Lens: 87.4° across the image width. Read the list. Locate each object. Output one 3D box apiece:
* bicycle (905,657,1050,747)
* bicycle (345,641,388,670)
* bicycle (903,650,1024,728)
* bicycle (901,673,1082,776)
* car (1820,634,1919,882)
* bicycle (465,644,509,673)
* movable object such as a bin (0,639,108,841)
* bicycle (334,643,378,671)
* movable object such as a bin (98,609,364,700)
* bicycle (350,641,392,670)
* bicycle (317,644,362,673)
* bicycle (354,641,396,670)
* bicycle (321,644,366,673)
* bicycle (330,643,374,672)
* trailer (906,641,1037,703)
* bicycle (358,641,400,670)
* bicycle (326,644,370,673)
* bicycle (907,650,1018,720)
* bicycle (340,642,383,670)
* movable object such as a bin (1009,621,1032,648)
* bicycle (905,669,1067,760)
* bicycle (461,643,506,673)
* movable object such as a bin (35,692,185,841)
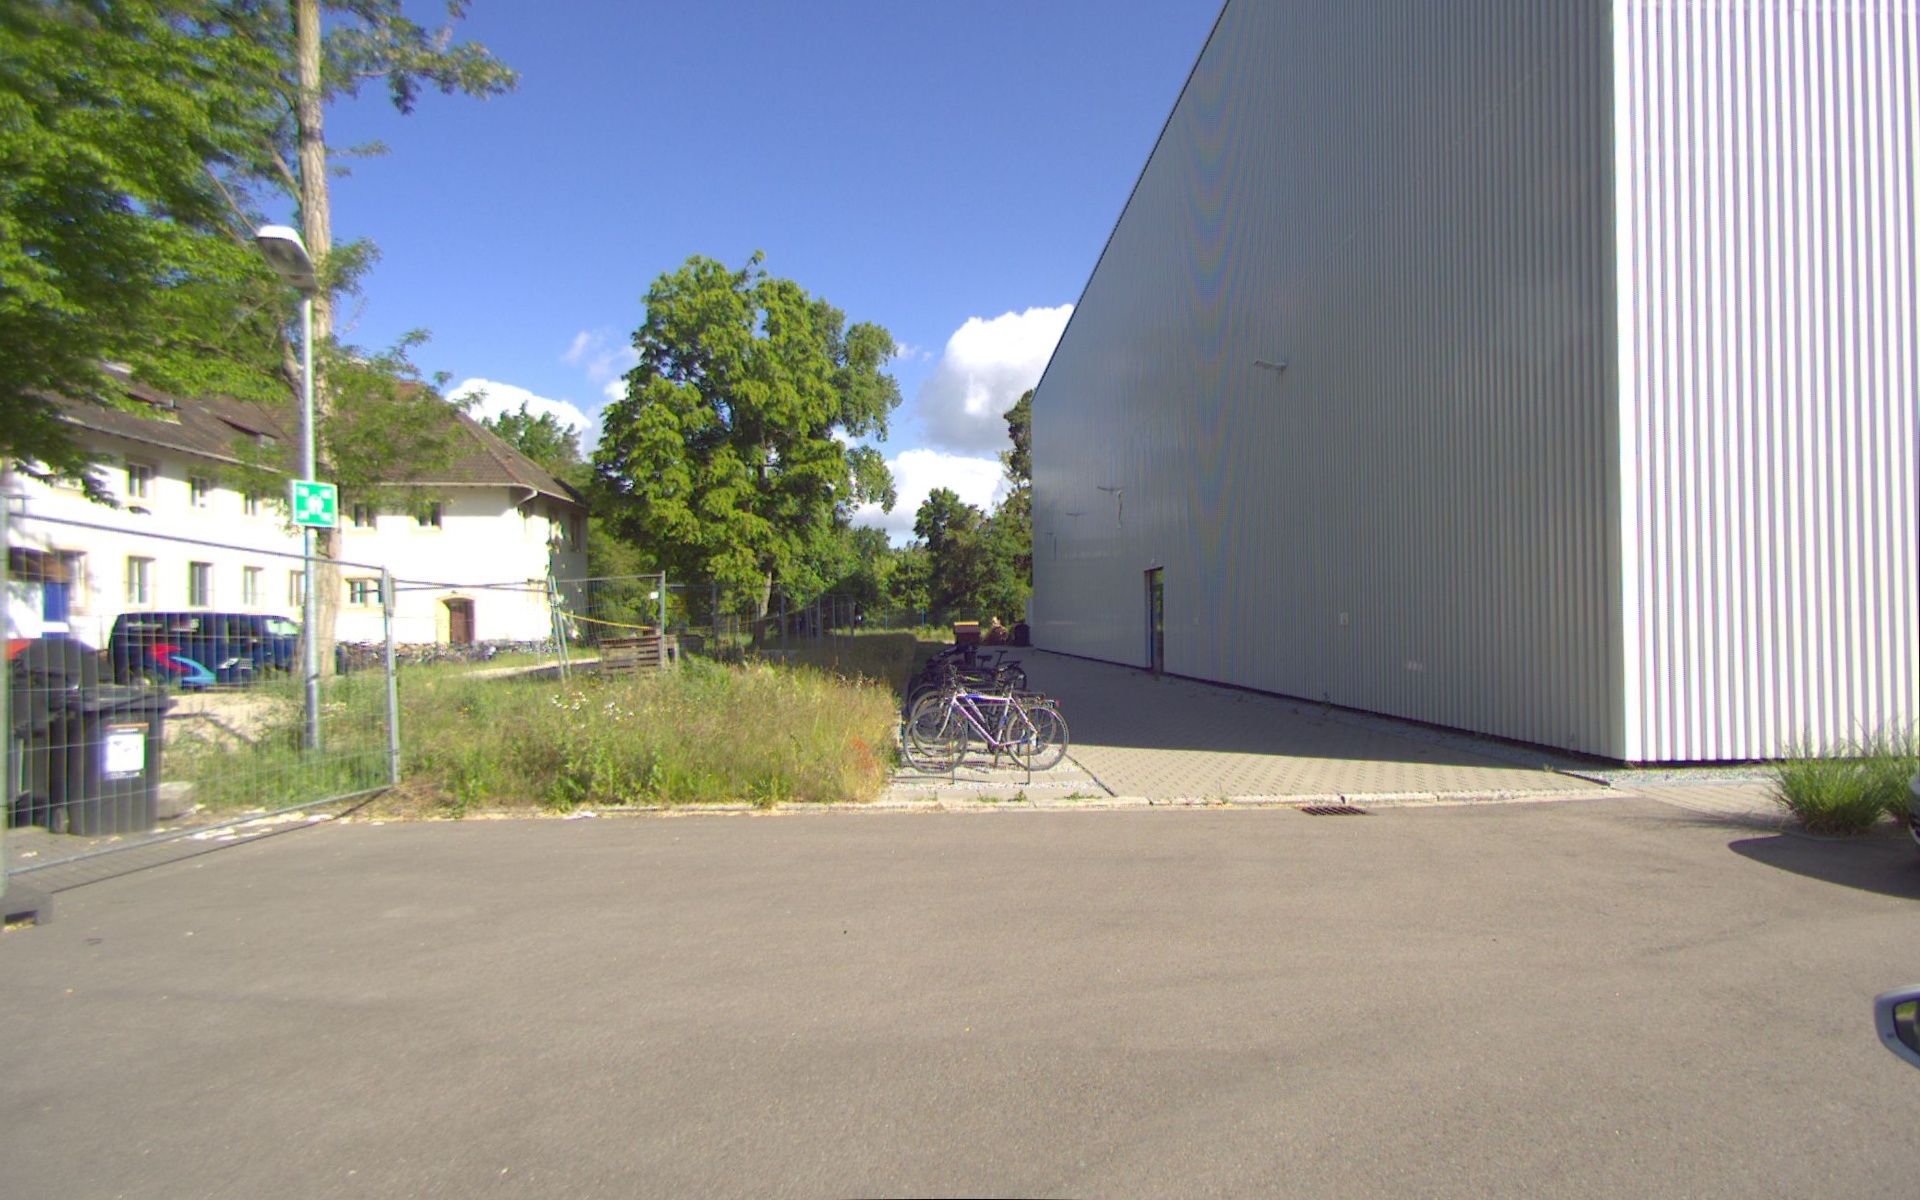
[{"bbox_3d":[0.216,1.320,13.109,1.853,1.096,0.433,-1,-1,-4],"label":"bicycle"},{"bbox_3d":[-22.287,2.082,37.705,1.408,1.057,0.261,-1,-1,-4],"label":"bicycle"},{"bbox_3d":[0.046,1.378,15.690,1.853,1.141,0.433,-1,-1,-4],"label":"bicycle"},{"bbox_3d":[0.315,1.293,10.517,1.853,0.991,0.433,-1,-1,-4],"label":"bicycle"},{"bbox_3d":[7.510,0.895,5.587,4.088,1.402,1.754,0,-1,-4],"label":"car"},{"bbox_3d":[-16.590,2.056,35.249,1.408,0.997,0.261,-1,-1,-4],"label":"bicycle"},{"bbox_3d":[-7.582,1.033,7.669,1.267,1.445,1.031,-1,-1,-7],"label":"movable object such as a bin"},{"bbox_3d":[-22.254,2.109,37.032,1.408,0.997,0.261,-1,-1,-4],"label":"bicycle"},{"bbox_3d":[-17.183,1.264,23.892,4.794,1.996,1.931,-1,-1,-5],"label":"movable object such as a bin"},{"bbox_3d":[-22.284,2.107,37.990,1.408,1.057,0.261,-1,-1,-4],"label":"bicycle"},{"bbox_3d":[-22.176,2.078,35.901,1.408,0.997,0.261,-1,-1,-4],"label":"bicycle"},{"bbox_3d":[-22.298,2.108,38.295,1.408,1.057,0.261,-1,-1,-4],"label":"bicycle"},{"bbox_3d":[-22.198,2.111,36.188,1.408,0.997,0.261,-1,-1,-4],"label":"bicycle"},{"bbox_3d":[-22.234,2.105,36.750,1.408,0.997,0.261,-1,-1,-4],"label":"bicycle"},{"bbox_3d":[0.207,1.507,21.317,2.667,1.215,1.245,-1,-2,-4],"label":"trailer"},{"bbox_3d":[-22.319,2.127,38.588,1.408,1.057,0.261,-1,-1,-4],"label":"bicycle"},{"bbox_3d":[-22.214,2.119,36.473,1.408,0.997,0.261,-1,-1,-4],"label":"bicycle"},{"bbox_3d":[0.030,1.431,17.068,1.853,1.118,0.433,-1,-1,-4],"label":"bicycle"},{"bbox_3d":[-22.276,2.091,37.400,1.408,0.997,0.261,-1,-1,-4],"label":"bicycle"},{"bbox_3d":[4.004,2.273,66.516,1.341,1.678,2.842,-1,-2,0],"label":"movable object such as a bin"},{"bbox_3d":[0.289,1.331,11.793,1.853,0.991,0.433,-1,-1,-4],"label":"bicycle"},{"bbox_3d":[-16.570,2.019,34.959,1.408,0.997,0.261,-1,-1,-4],"label":"bicycle"},{"bbox_3d":[-6.370,1.225,7.550,0.630,1.020,0.605,-1,-1,12],"label":"movable object such as a bin"}]
